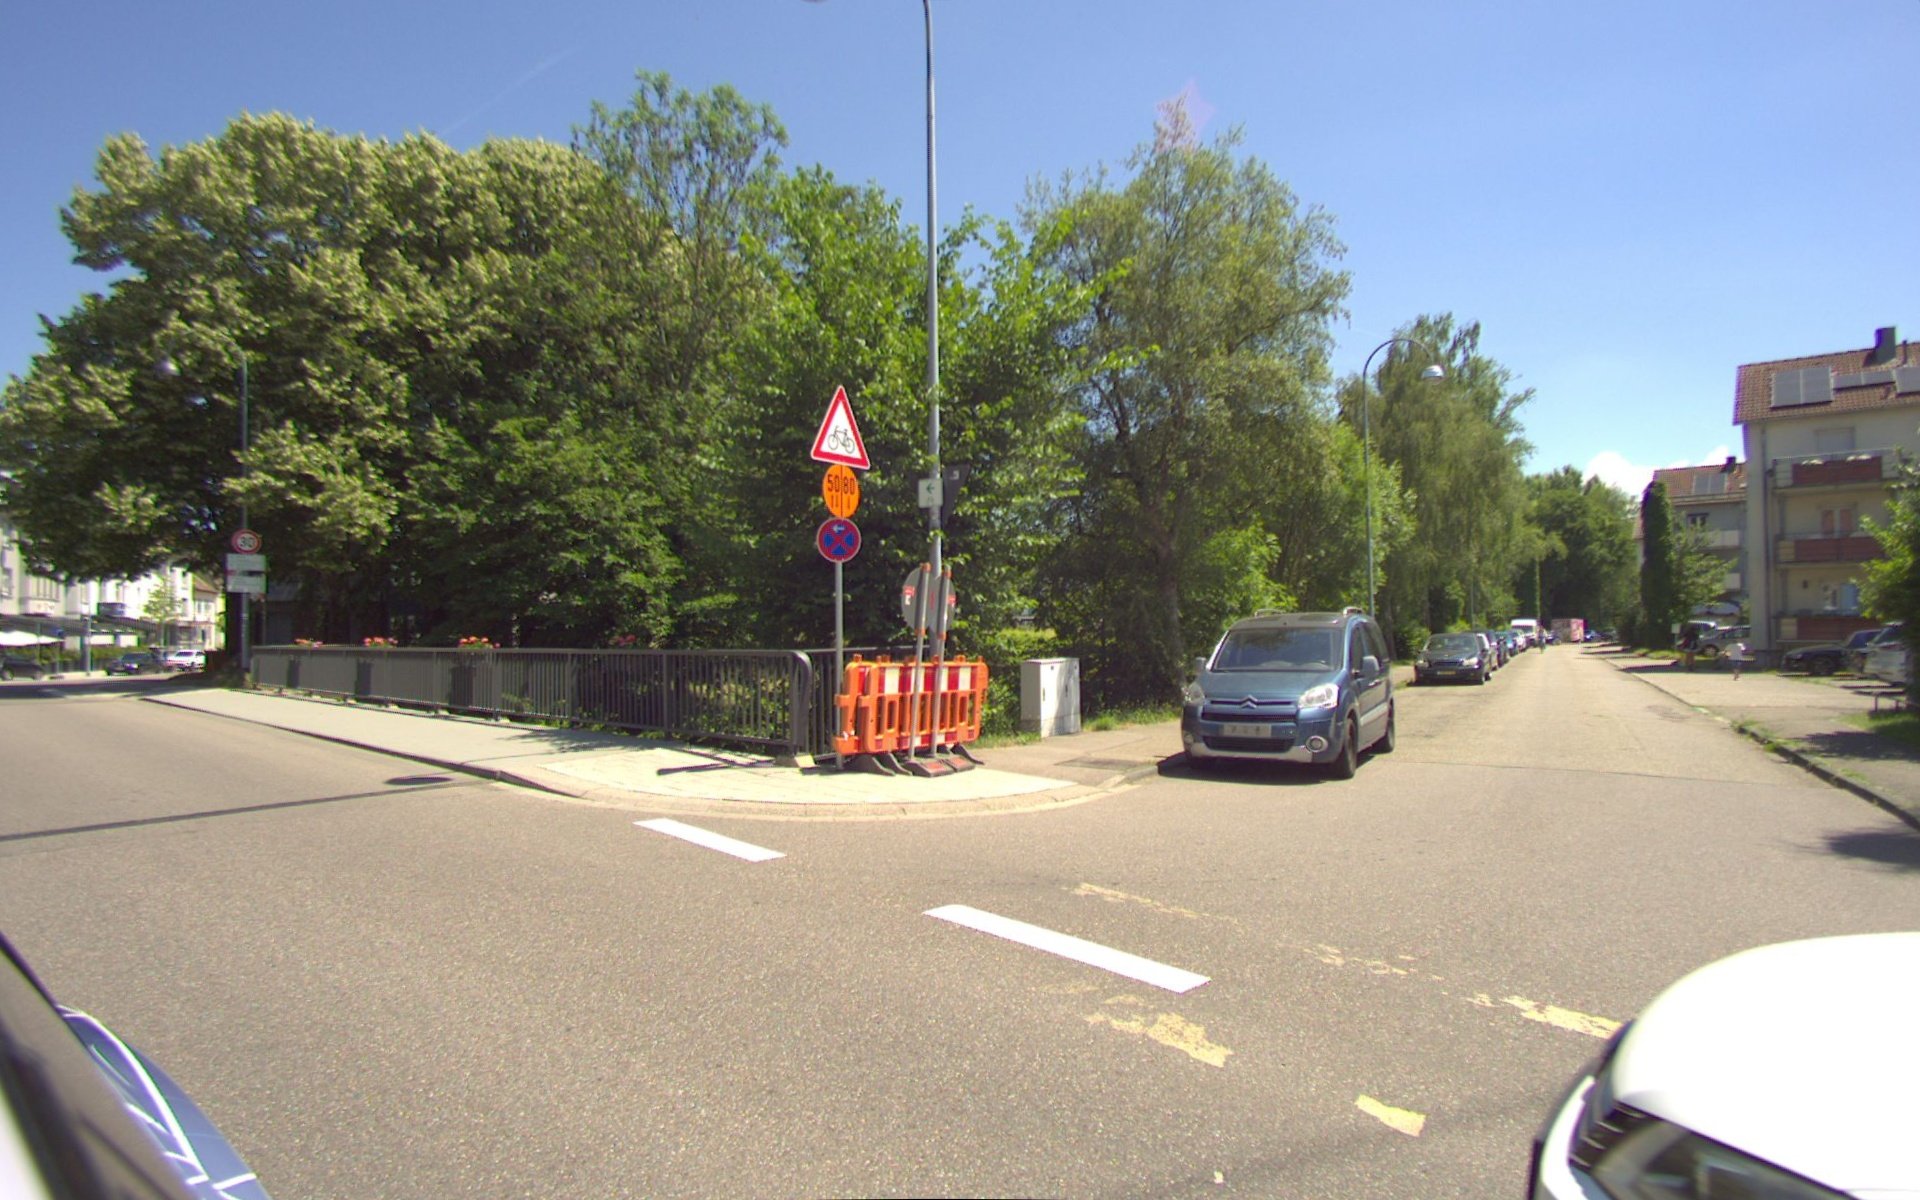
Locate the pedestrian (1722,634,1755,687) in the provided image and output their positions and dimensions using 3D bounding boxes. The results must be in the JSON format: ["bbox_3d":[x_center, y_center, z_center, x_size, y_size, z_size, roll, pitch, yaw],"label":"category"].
[{"bbox_3d":[23.134,1.782,30.073,0.695,1.523,0.722,-2,-2,42],"label":"pedestrian"}]

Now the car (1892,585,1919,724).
[{"bbox_3d":[15.887,0.832,15.660,2.001,2.029,3.942,-3,-4,44],"label":"car"}]

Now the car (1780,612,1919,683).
[{"bbox_3d":[27.364,1.407,30.564,3.996,2.029,1.974,-2,-1,40],"label":"car"}]

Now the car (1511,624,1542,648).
[{"bbox_3d":[50.475,3.201,90.094,1.995,2.029,3.952,-2,-2,35],"label":"car"}]

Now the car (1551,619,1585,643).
[{"bbox_3d":[63.732,3.272,106.095,2.129,2.392,4.671,-2,-2,42],"label":"car"}]

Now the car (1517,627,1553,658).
[{"bbox_3d":[38.678,2.814,68.006,1.993,2.029,3.957,-1,-2,31],"label":"car"}]

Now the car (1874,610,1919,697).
[{"bbox_3d":[22.414,1.110,21.661,3.993,1.829,1.975,-3,-1,37],"label":"car"}]

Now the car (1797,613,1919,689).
[{"bbox_3d":[26.154,1.397,28.445,3.996,2.029,1.974,-2,-1,40],"label":"car"}]

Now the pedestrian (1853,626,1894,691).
[{"bbox_3d":[22.085,1.401,24.476,0.695,1.523,0.722,-2,-2,42],"label":"pedestrian"}]

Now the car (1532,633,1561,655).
[{"bbox_3d":[56.504,4.201,97.524,1.996,2.029,3.951,-2,-3,36],"label":"car"}]

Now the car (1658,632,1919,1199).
[{"bbox_3d":[3.033,0.761,0.400,4.287,1.518,1.972,-3,-2,42],"label":"car"}]

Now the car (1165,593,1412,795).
[{"bbox_3d":[4.023,0.991,11.865,1.812,1.888,4.392,-3,-4,30],"label":"car"}]

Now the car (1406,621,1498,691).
[{"bbox_3d":[14.245,1.595,29.164,1.992,1.815,4.392,-4,-4,30],"label":"car"}]

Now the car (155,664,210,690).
[{"bbox_3d":[-55.910,5.500,72.820,1.965,1.697,4.012,1,-3,-20],"label":"car"}]

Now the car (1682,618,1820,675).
[{"bbox_3d":[26.899,1.586,34.504,3.546,1.802,1.539,-4,-3,40],"label":"car"}]

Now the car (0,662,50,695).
[{"bbox_3d":[-51.724,4.245,54.457,1.971,1.729,4.000,-1,-3,-1],"label":"car"}]

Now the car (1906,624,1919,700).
[{"bbox_3d":[21.478,1.247,19.835,3.990,1.515,1.977,-2,0,35],"label":"car"}]

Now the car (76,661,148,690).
[{"bbox_3d":[-54.211,4.822,64.724,3.976,1.729,1.983,-3,-4,25],"label":"car"}]
